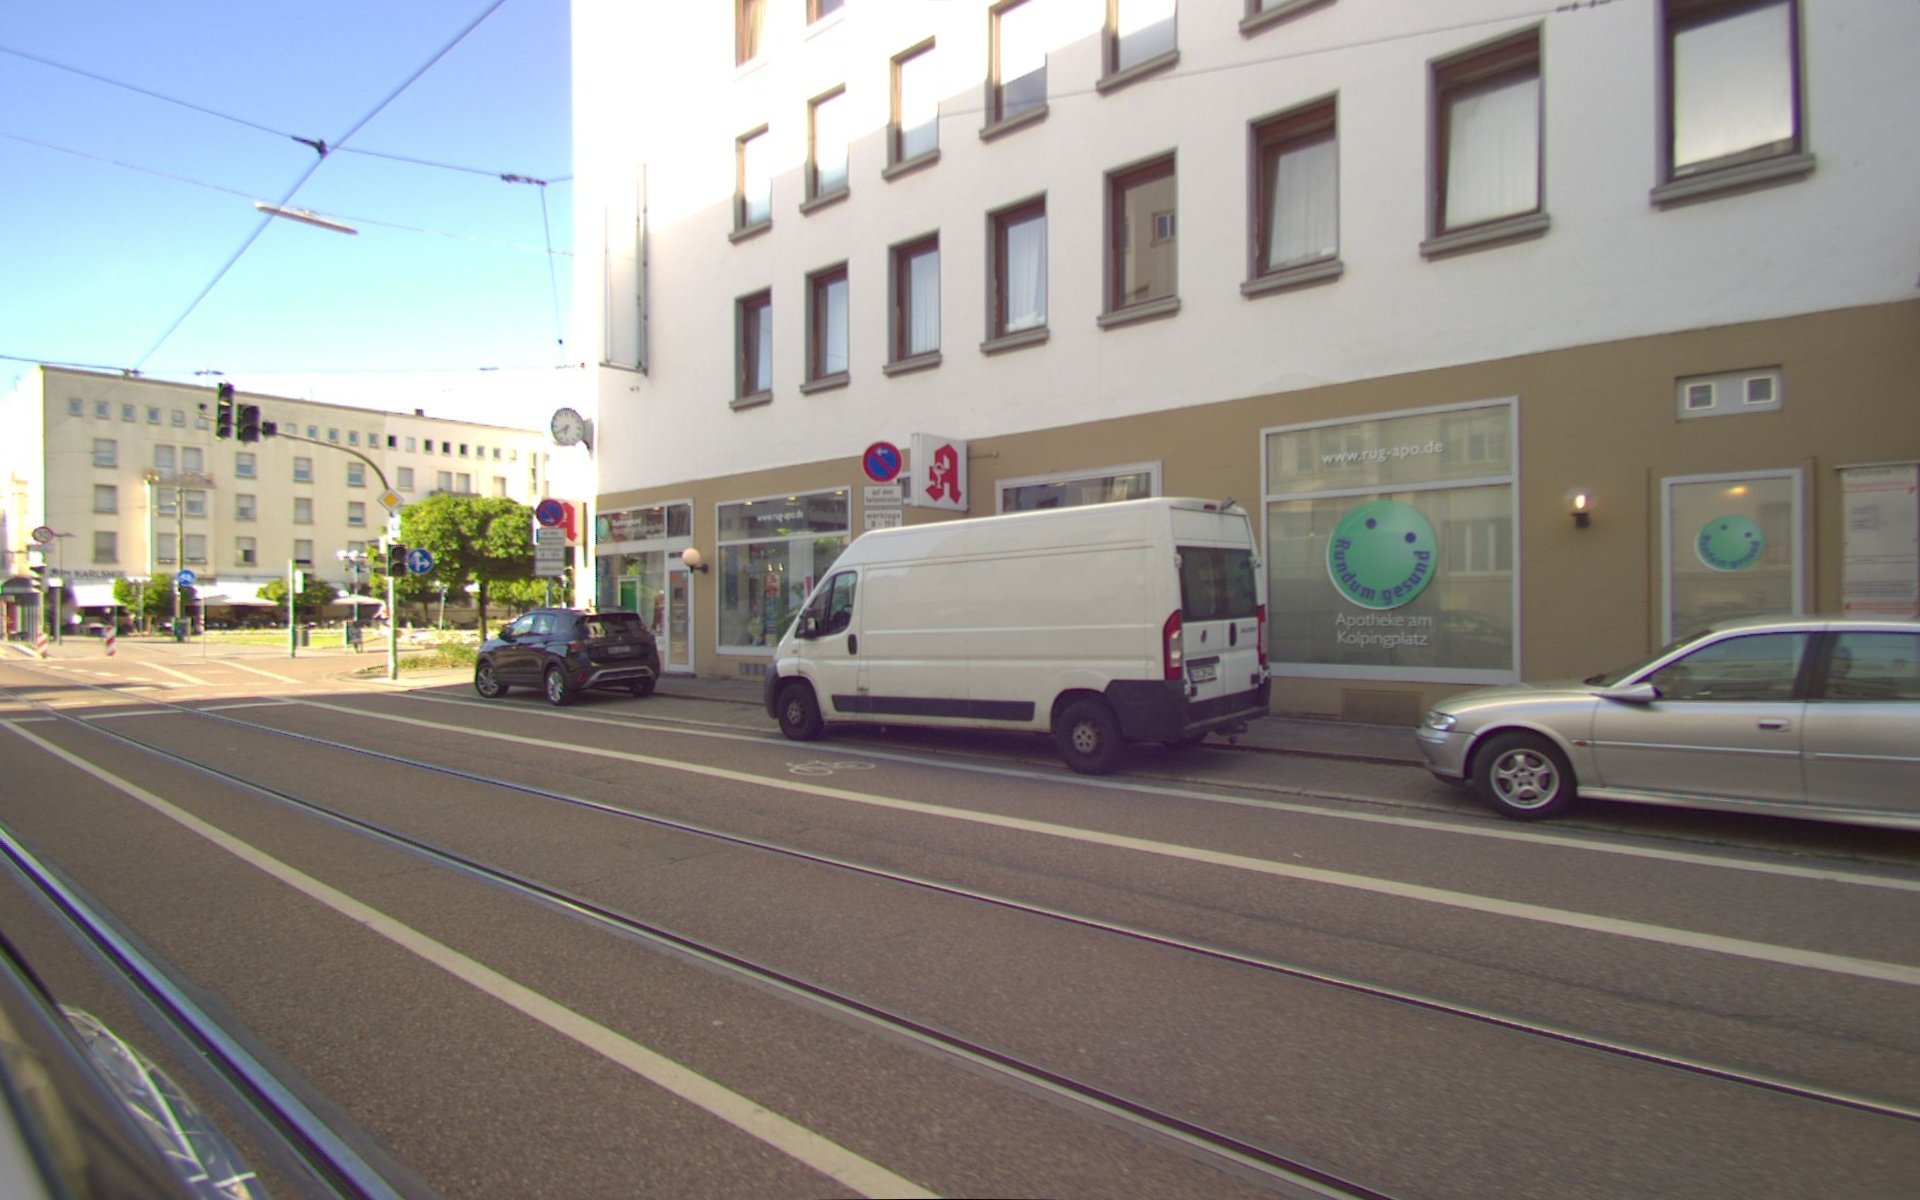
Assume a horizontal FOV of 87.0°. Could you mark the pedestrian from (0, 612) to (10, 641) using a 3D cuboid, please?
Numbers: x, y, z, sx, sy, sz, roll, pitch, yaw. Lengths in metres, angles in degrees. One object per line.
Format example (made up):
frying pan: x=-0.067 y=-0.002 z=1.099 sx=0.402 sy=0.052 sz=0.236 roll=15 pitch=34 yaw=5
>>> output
pedestrian: x=-49.809 y=1.384 z=52.585 sx=0.609 sy=1.502 sz=0.545 roll=-1 pitch=-1 yaw=35

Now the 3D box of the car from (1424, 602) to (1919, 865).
car: x=5.625 y=0.750 z=6.537 sx=4.444 sy=1.409 sz=1.764 roll=-1 pitch=1 yaw=42

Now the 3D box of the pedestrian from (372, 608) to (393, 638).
pedestrian: x=-32.556 y=1.283 z=57.026 sx=0.826 sy=1.708 sz=0.668 roll=0 pitch=-1 yaw=-5

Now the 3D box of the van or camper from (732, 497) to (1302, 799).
van or camper: x=0.290 y=0.406 z=11.180 sx=6.228 sy=2.485 sz=2.150 roll=-1 pitch=1 yaw=40

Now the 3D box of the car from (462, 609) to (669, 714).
car: x=-6.966 y=0.986 z=17.689 sx=3.992 sy=1.564 sz=1.764 roll=-1 pitch=1 yaw=42
